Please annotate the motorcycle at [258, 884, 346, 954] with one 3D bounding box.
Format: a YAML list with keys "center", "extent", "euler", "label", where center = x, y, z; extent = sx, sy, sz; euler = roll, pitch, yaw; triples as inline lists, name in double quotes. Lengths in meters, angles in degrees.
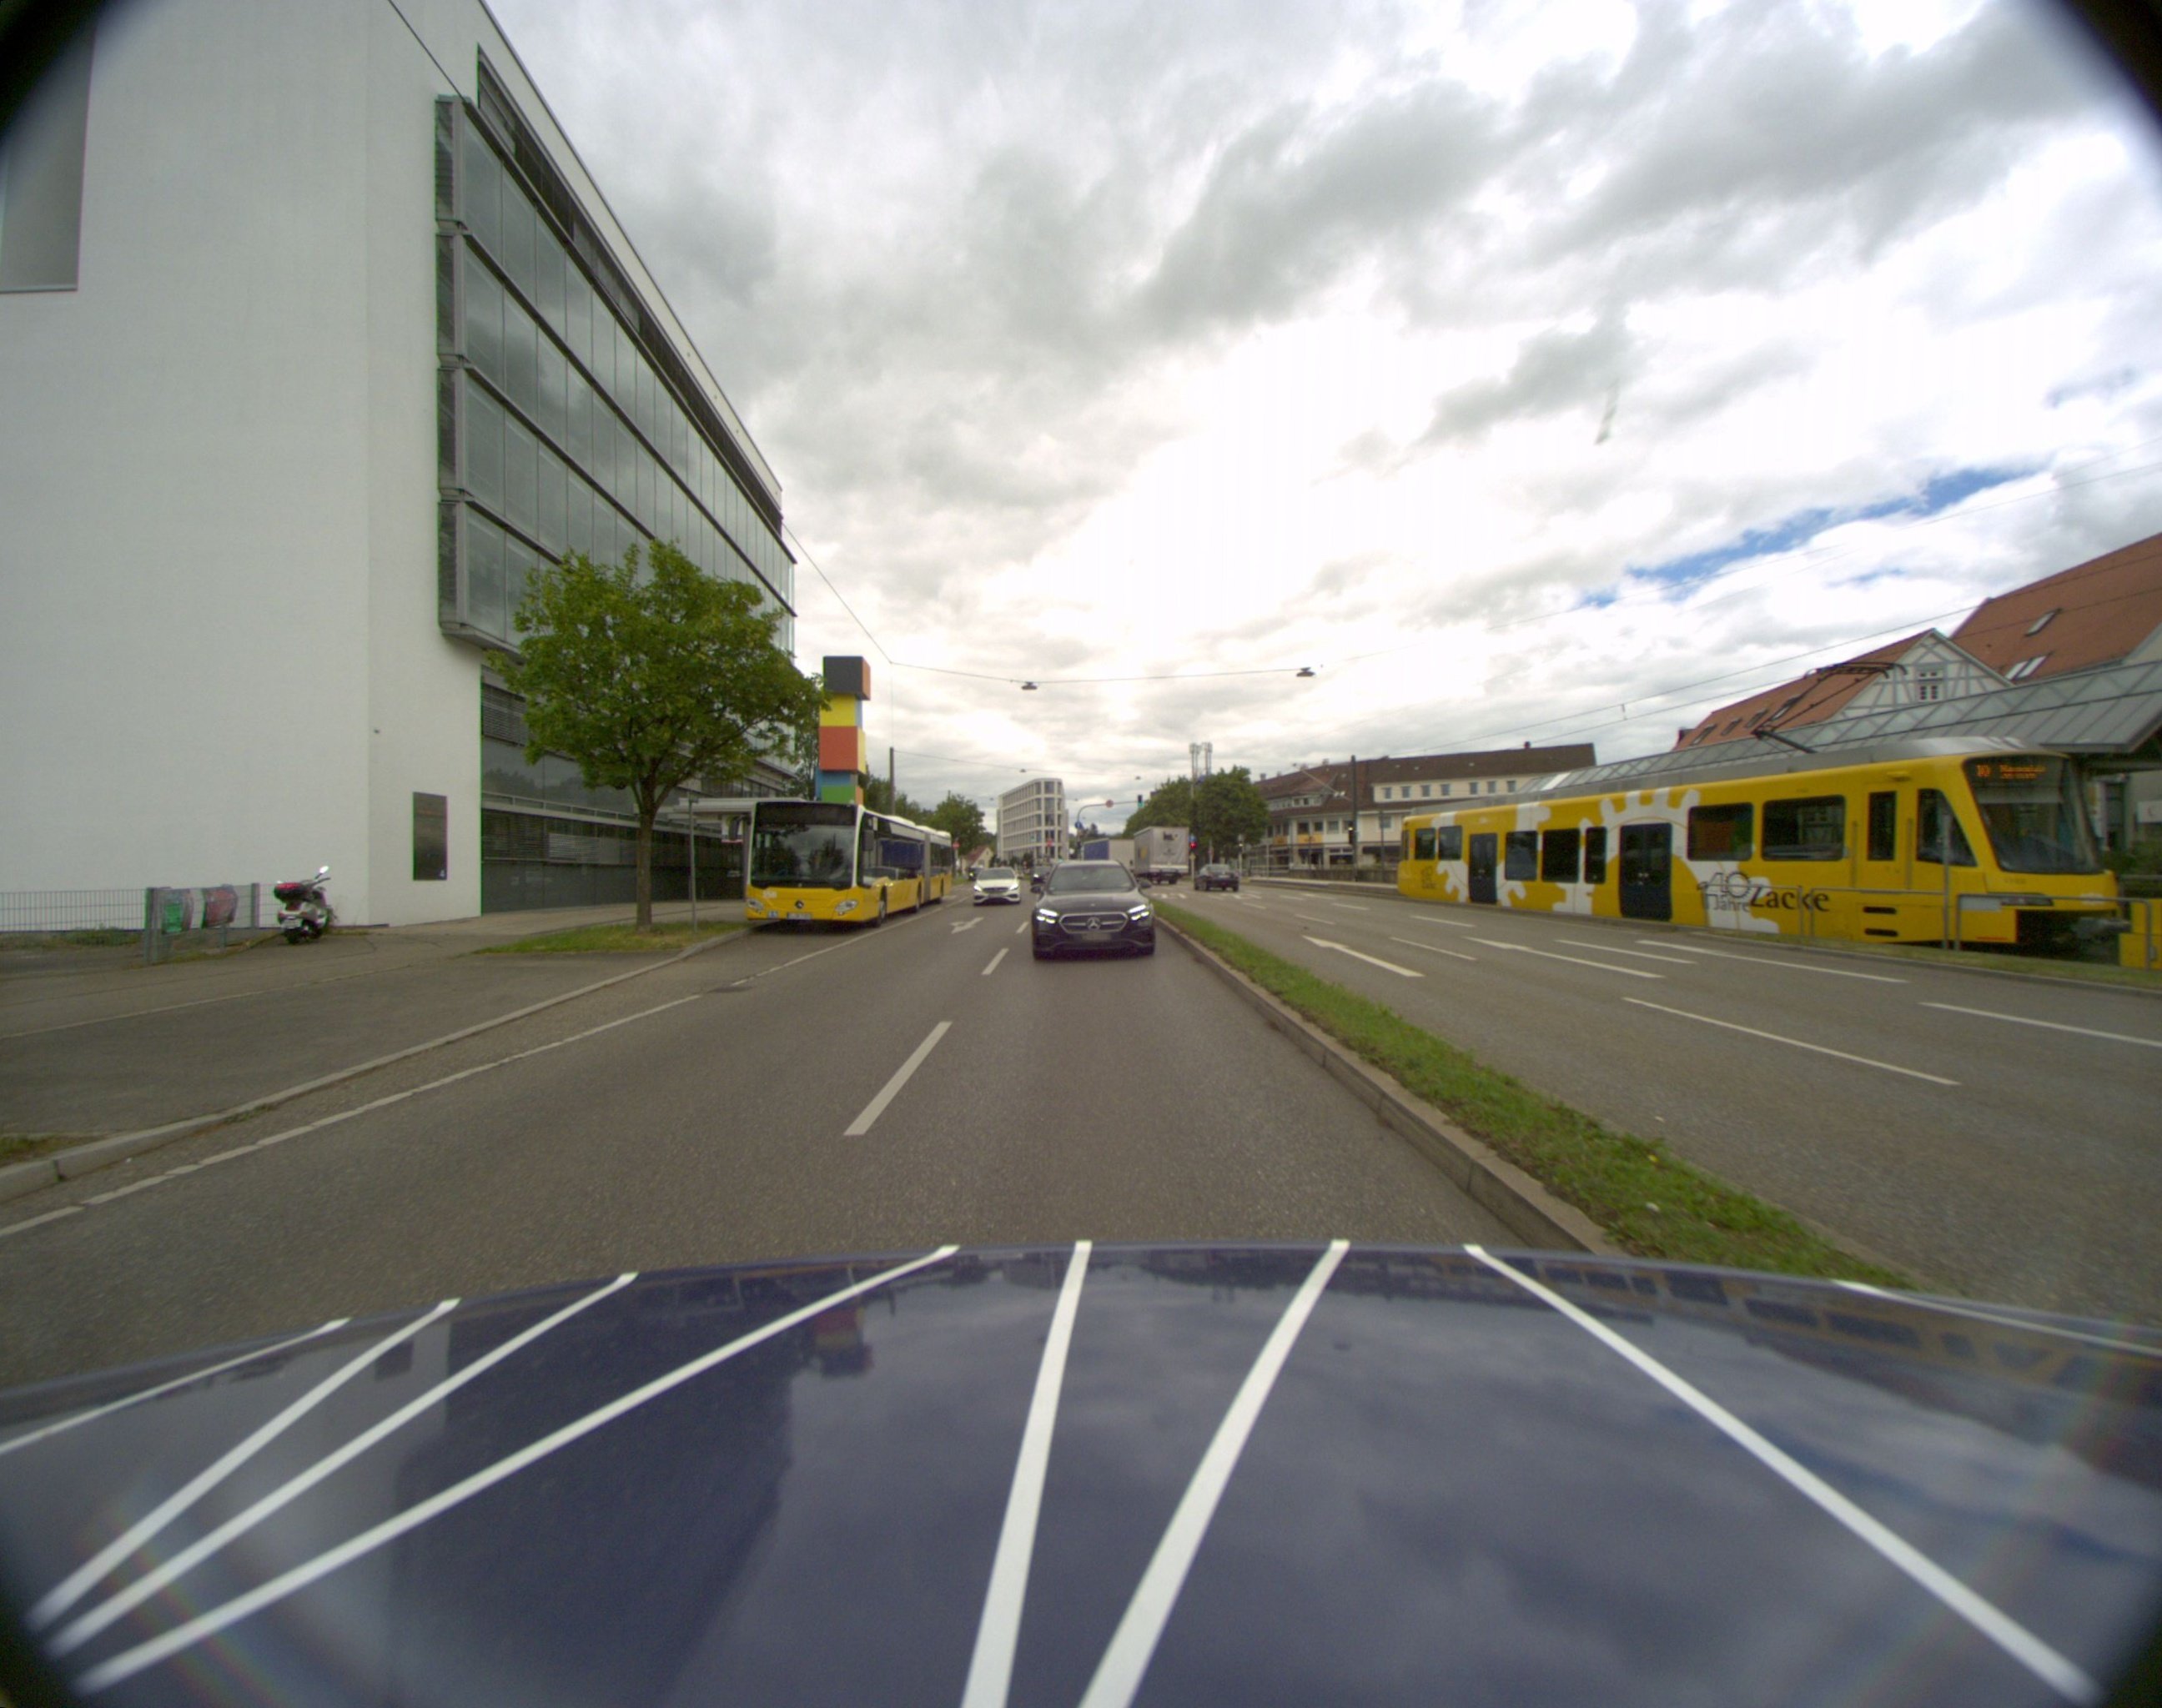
- center: [-13.892, 1.121, 13.606]
  extent: [0.826, 1.108, 1.737]
  euler: [0, 0, -37]
  label: "motorcycle"

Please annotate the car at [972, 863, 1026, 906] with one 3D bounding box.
- center: [-3.217, 1.151, 30.512]
  extent: [1.873, 1.496, 4.771]
  euler: [-2, 0, -4]
  label: "car"

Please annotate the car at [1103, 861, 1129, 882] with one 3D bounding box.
- center: [2.608, 1.306, 57.075]
  extent: [1.592, 1.493, 3.717]
  euler: [-1, 0, -2]
  label: "car"

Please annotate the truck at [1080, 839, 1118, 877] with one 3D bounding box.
- center: [1.910, 0.476, 84.097]
  extent: [3.101, 3.998, 6.151]
  euler: [-1, -1, -9]
  label: "truck"

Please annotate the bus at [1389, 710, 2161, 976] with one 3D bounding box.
- center: [14.849, -0.157, 20.732]
  extent: [3.888, 3.836, 19.334]
  euler: [-1, 0, -4]
  label: "bus"

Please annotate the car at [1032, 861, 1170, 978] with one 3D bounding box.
- center: [0.224, 0.957, 13.237]
  extent: [1.872, 1.542, 4.772]
  euler: [-4, 0, -2]
  label: "car"

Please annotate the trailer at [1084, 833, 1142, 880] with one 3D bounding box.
- center: [2.952, 0.354, 77.200]
  extent: [3.112, 4.244, 14.838]
  euler: [-1, -1, -8]
  label: "trailer"

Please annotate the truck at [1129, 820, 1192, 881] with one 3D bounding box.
- center: [5.467, -0.169, 54.063]
  extent: [2.947, 3.934, 9.162]
  euler: [-1, 0, -4]
  label: "truck"

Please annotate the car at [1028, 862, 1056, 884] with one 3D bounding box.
- center: [-3.016, 1.445, 59.161]
  extent: [1.735, 1.474, 4.369]
  euler: [-2, 0, 3]
  label: "car"

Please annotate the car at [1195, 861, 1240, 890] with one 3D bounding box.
- center: [6.805, 1.041, 38.221]
  extent: [1.509, 1.337, 3.948]
  euler: [1, 0, -1]
  label: "car"

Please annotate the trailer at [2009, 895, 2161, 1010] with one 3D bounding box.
- center: [15.151, 1.260, 4.966]
  extent: [2.849, 1.325, 12.122]
  euler: [-1, 0, -4]
  label: "trailer"

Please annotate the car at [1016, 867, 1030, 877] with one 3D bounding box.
- center: [-9.888, 3.012, 128.638]
  extent: [1.918, 1.585, 4.812]
  euler: [-1, -1, -10]
  label: "car"

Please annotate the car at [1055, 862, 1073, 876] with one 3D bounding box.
- center: [-1.989, 1.749, 87.540]
  extent: [1.792, 1.507, 4.362]
  euler: [-1, -1, -6]
  label: "car"

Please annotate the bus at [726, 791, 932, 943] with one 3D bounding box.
- center: [-6.370, 0.264, 21.256]
  extent: [2.991, 3.222, 9.862]
  euler: [-1, 0, -4]
  label: "bus"

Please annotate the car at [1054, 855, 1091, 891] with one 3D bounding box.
- center: [-0.465, 0.933, 39.095]
  extent: [1.735, 1.680, 4.368]
  euler: [-2, 0, -2]
  label: "car"

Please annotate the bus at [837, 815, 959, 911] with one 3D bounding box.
- center: [-6.914, 0.323, 30.285]
  extent: [3.044, 3.216, 9.335]
  euler: [0, 0, -3]
  label: "bus"
